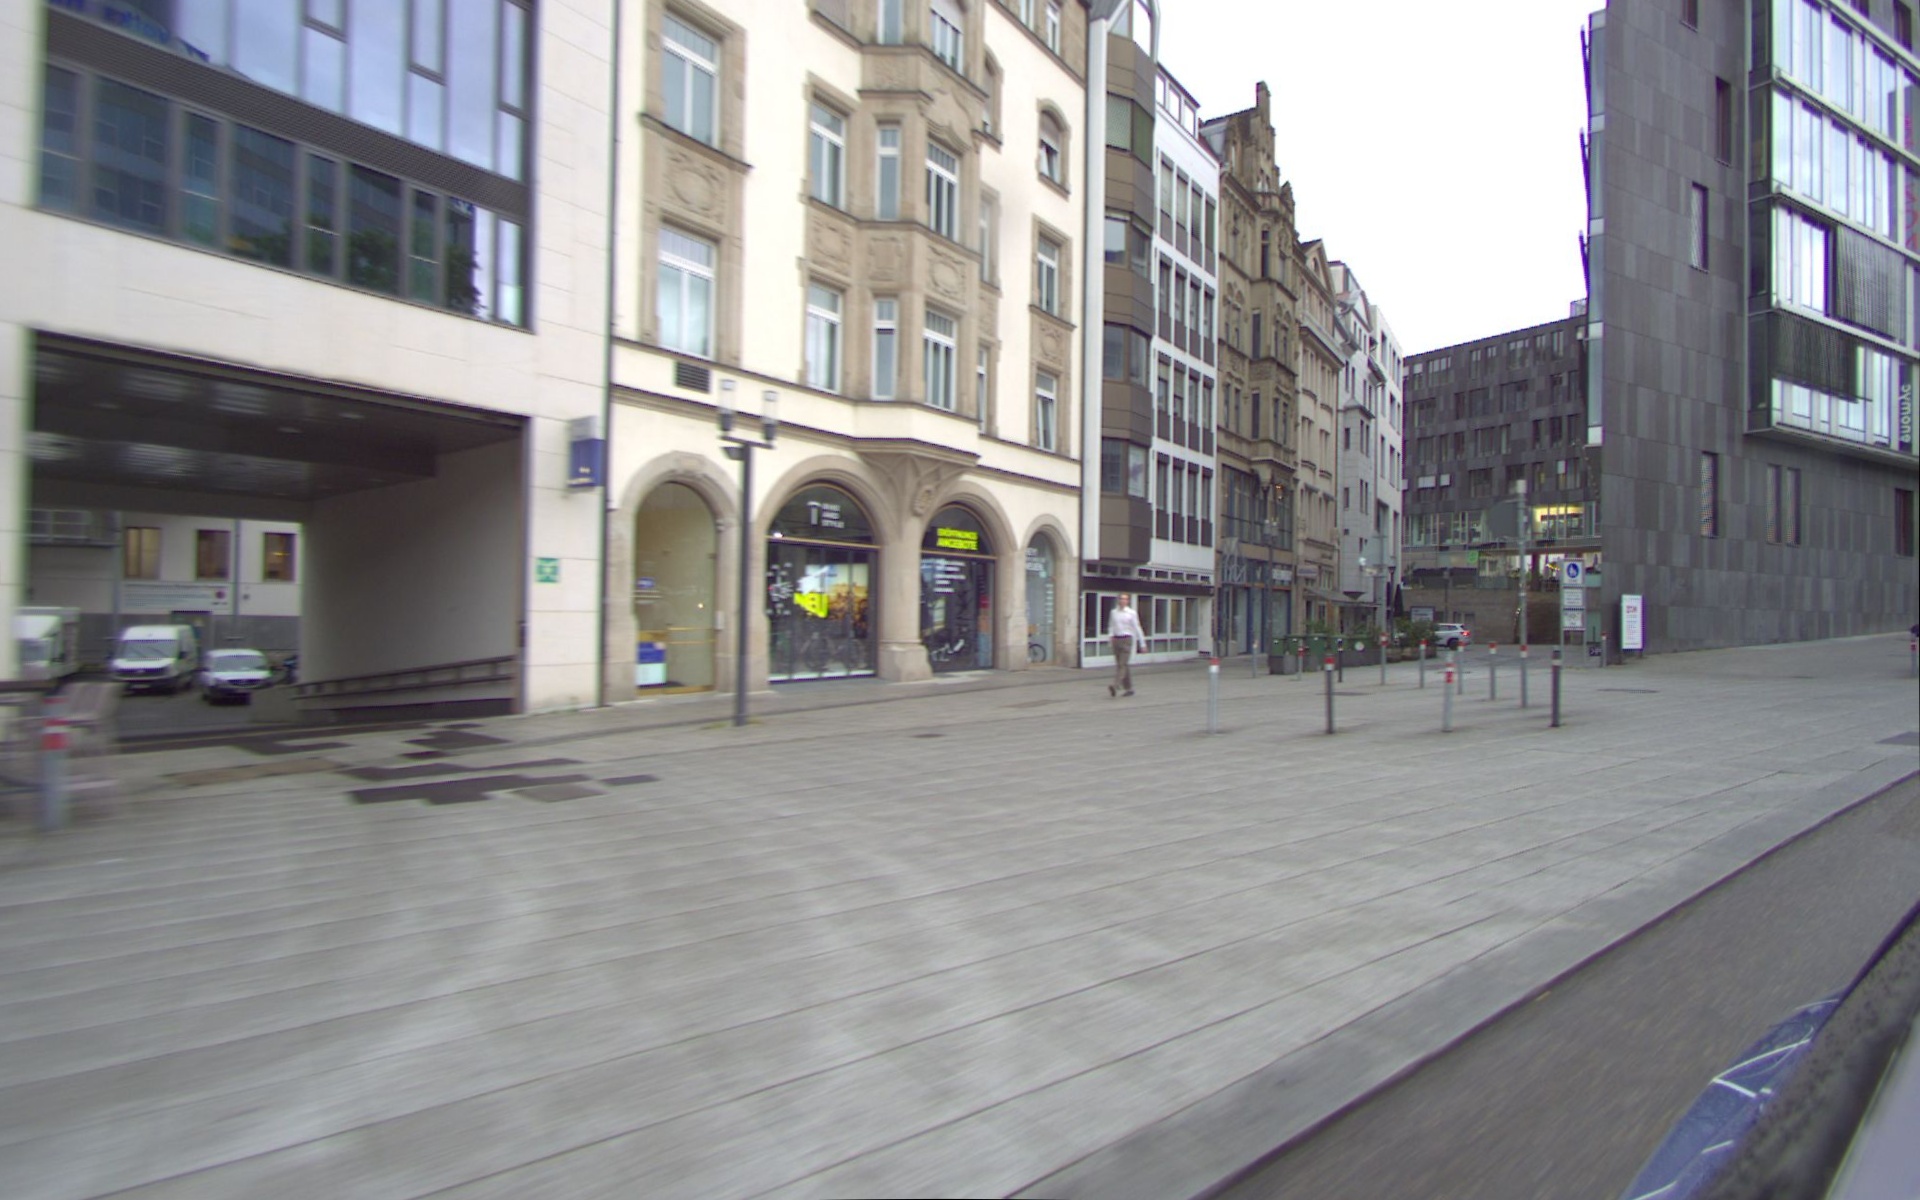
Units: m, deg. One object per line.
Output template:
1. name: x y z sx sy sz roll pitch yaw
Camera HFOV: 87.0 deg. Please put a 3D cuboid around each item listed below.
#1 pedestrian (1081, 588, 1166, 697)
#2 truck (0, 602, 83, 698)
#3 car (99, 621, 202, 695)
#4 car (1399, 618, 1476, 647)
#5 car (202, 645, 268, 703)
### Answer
1. pedestrian: 2.937 0.731 18.110 1.228 1.861 0.872 -1 -2 -43
2. truck: -34.931 1.824 37.639 2.778 3.269 7.707 0 -2 -36
3. car: -32.522 2.251 40.913 2.778 2.680 7.708 0 -2 -35
4. car: 28.448 1.919 60.355 4.029 1.639 1.688 -2 -1 27
5. car: -25.183 2.513 35.146 1.766 1.804 3.998 0 -2 -36
